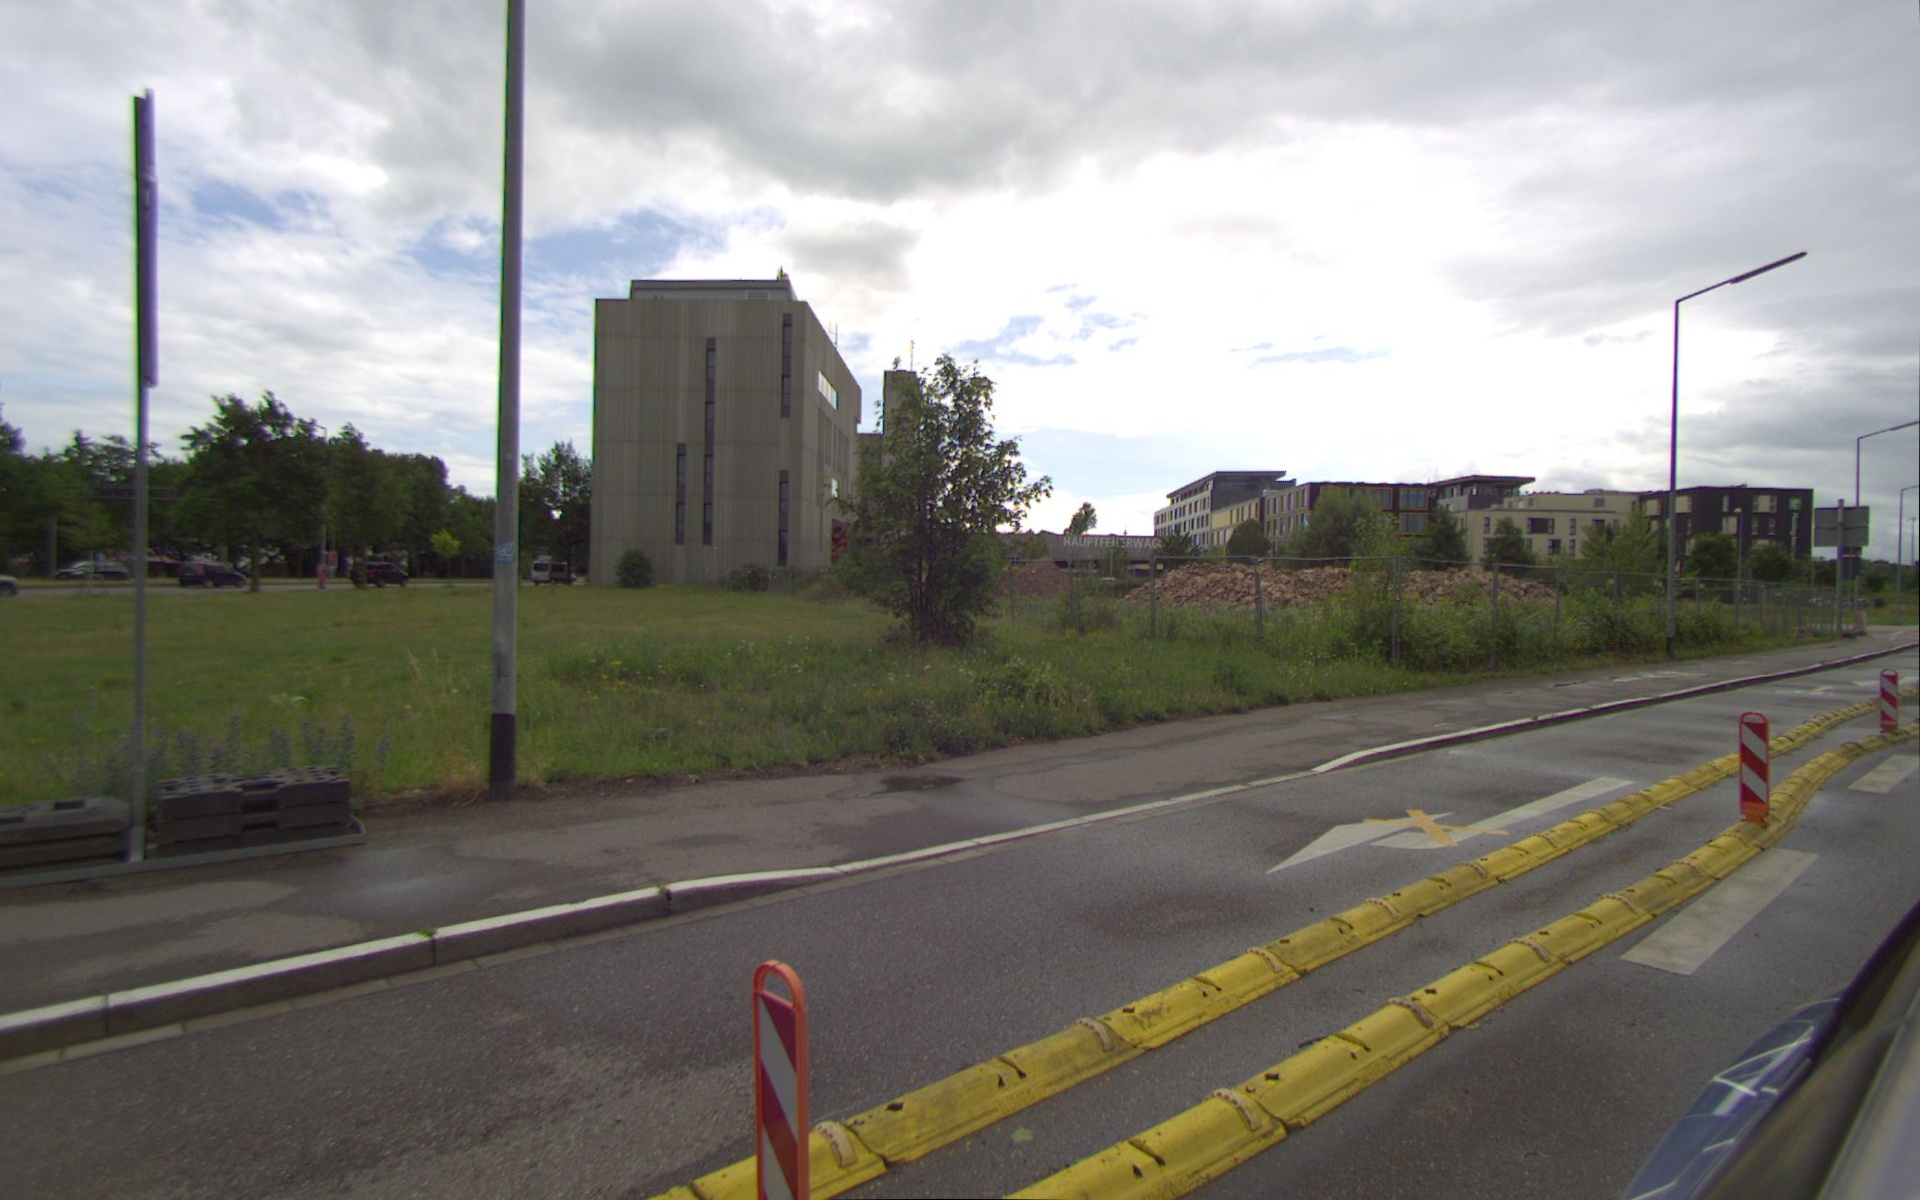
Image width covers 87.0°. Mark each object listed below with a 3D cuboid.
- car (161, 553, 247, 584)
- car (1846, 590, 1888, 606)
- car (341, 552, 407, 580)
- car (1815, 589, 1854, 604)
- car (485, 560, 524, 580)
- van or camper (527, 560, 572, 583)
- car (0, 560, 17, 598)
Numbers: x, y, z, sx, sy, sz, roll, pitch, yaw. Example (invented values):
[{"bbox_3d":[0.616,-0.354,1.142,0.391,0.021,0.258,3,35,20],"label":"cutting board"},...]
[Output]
[{"bbox_3d":[-46.618,-1.917,62.514,2.041,1.836,4.204,1,1,4],"label":"car"},{"bbox_3d":[126.241,-0.293,140.883,3.925,2.039,2.000,1,1,1],"label":"car"},{"bbox_3d":[-42.918,-2.462,74.226,2.180,1.996,5.047,1,1,-4],"label":"car"},{"bbox_3d":[127.805,-0.462,147.954,3.925,2.039,2.000,1,1,1],"label":"car"},{"bbox_3d":[-45.114,-2.970,100.328,1.964,1.872,3.997,1,1,3],"label":"car"},{"bbox_3d":[-39.612,-2.770,97.836,1.963,2.142,5.551,1,1,1],"label":"van or camper"},{"bbox_3d":[-41.020,-0.862,40.717,1.962,1.603,4.533,1,1,-1],"label":"car"}]
